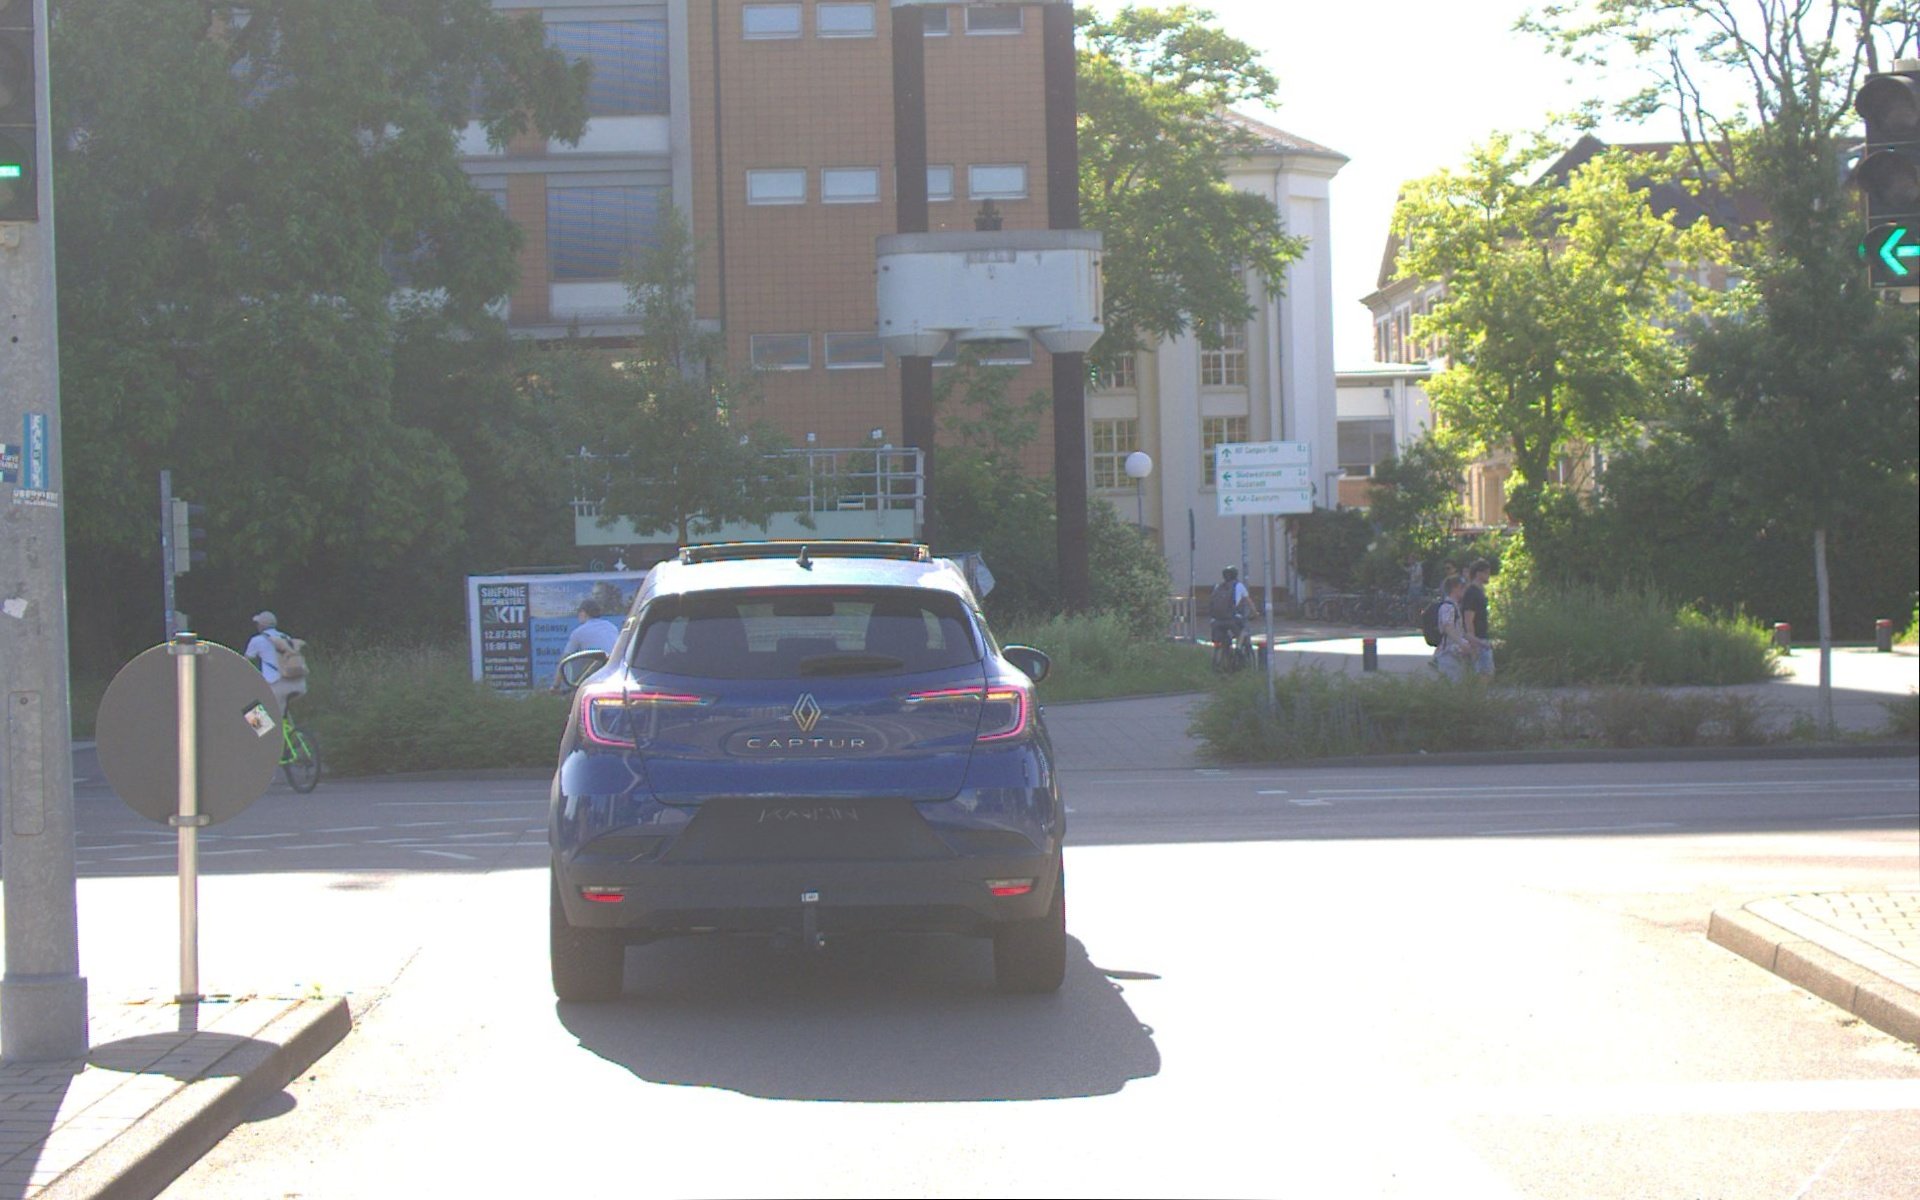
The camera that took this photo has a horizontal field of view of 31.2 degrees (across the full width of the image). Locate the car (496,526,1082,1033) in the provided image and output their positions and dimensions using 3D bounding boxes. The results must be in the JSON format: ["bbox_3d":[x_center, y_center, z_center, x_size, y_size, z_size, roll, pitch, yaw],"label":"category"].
[{"bbox_3d":[-0.594,0.568,13.202,1.876,1.612,3.798,-2,1,-1],"label":"car"}]

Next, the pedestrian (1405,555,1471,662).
[{"bbox_3d":[7.374,0.131,52.993,0.734,1.637,0.677,1,0,-43],"label":"pedestrian"}]

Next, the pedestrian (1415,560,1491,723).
[{"bbox_3d":[5.553,0.461,38.695,0.734,1.810,0.731,1,0,17],"label":"pedestrian"}]

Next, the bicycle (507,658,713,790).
[{"bbox_3d":[-3.231,1.129,31.672,1.868,1.161,0.717,-1,0,37],"label":"bicycle"}]

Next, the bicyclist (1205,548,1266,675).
[{"bbox_3d":[3.803,0.154,47.417,0.720,1.729,0.977,-1,0,10],"label":"bicyclist"}]

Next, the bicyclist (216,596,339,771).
[{"bbox_3d":[-6.994,0.846,35.216,0.976,1.757,0.720,-1,0,34],"label":"bicyclist"}]

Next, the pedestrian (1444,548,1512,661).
[{"bbox_3d":[7.545,0.062,50.069,0.677,1.637,0.734,1,0,42],"label":"pedestrian"}]

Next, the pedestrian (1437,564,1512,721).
[{"bbox_3d":[5.910,0.478,39.479,0.734,1.776,0.731,1,0,17],"label":"pedestrian"}]

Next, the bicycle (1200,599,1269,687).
[{"bbox_3d":[3.800,0.581,47.404,0.746,1.161,1.869,-1,0,10],"label":"bicycle"}]

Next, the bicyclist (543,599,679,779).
[{"bbox_3d":[-3.215,0.814,31.671,0.976,1.611,0.720,-1,0,37],"label":"bicyclist"}]

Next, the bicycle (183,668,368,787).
[{"bbox_3d":[-7.027,1.292,35.249,1.868,1.161,0.747,-1,0,34],"label":"bicycle"}]
